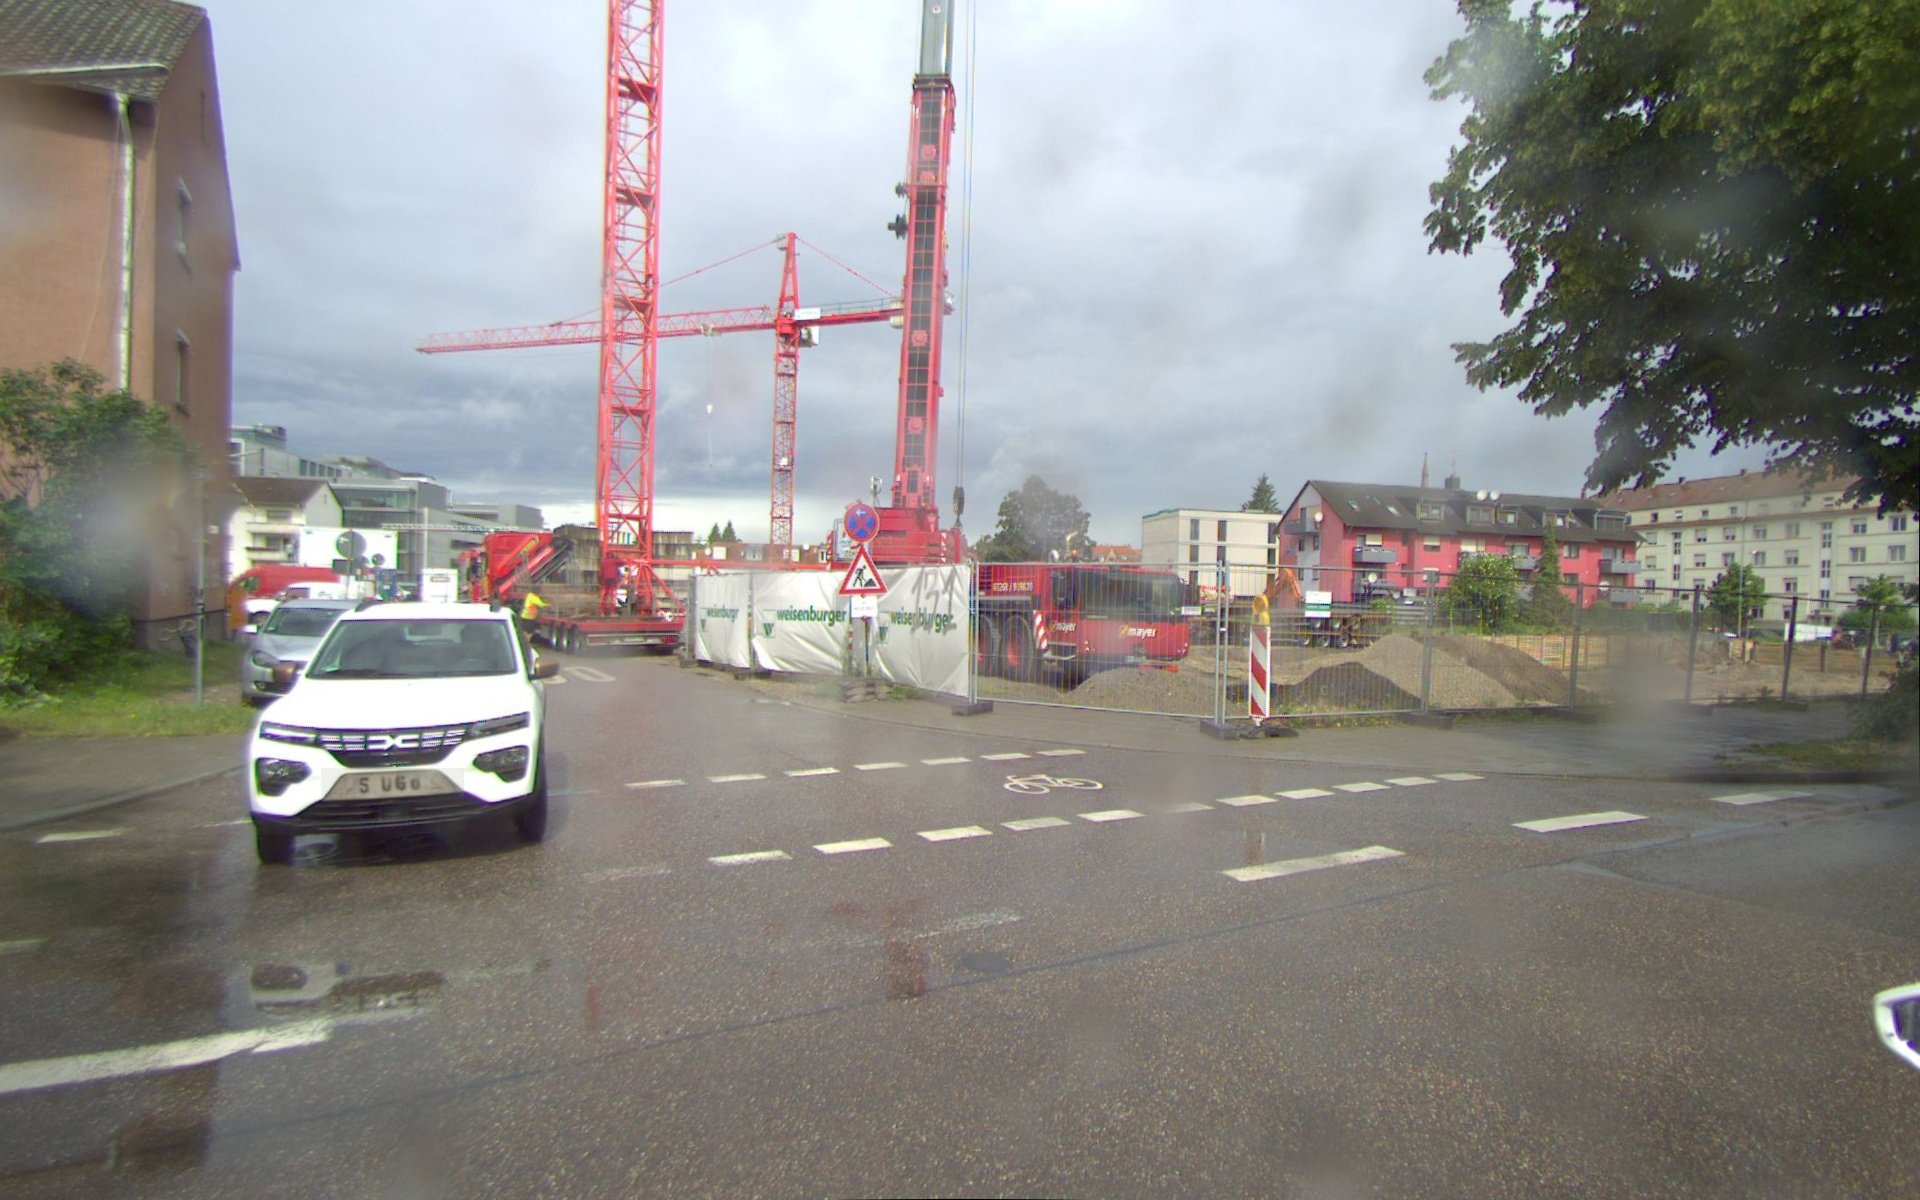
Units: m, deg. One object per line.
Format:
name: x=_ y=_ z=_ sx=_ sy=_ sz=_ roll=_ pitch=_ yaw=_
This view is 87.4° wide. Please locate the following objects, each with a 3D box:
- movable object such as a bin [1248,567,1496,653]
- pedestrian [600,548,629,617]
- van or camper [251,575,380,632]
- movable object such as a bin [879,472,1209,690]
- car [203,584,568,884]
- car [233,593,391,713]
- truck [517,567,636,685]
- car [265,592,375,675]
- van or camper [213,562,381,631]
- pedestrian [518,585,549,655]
movable object such as a bin: x=31.771 y=0.713 z=78.225 sx=16.428 sy=6.125 sz=6.885 roll=1 pitch=1 yaw=-5
pedestrian: x=-10.381 y=-0.513 z=30.144 sx=0.681 sy=2.040 sz=0.487 roll=2 pitch=-3 yaw=-37
van or camper: x=-24.835 y=0.189 z=38.753 sx=3.967 sy=2.040 sz=1.928 roll=2 pitch=-3 yaw=-40
movable object such as a bin: x=1.431 y=-0.446 z=24.304 sx=3.323 sy=4.171 sz=9.775 roll=1 pitch=1 yaw=-27
car: x=-3.754 y=0.719 z=7.200 sx=1.712 sy=1.554 sz=3.599 roll=1 pitch=-1 yaw=-21
car: x=-9.456 y=0.680 z=14.876 sx=1.708 sy=1.493 sz=4.033 roll=1 pitch=0 yaw=-31
truck: x=-12.544 y=0.694 z=32.453 sx=2.323 sy=3.237 sz=6.958 roll=2 pitch=2 yaw=-31
car: x=-13.213 y=0.642 z=20.913 sx=1.708 sy=1.493 sz=4.033 roll=4 pitch=-1 yaw=-31
van or camper: x=-26.869 y=-0.058 z=40.873 sx=5.526 sy=2.544 sz=1.931 roll=2 pitch=-3 yaw=-35
pedestrian: x=-12.572 y=0.610 z=29.586 sx=0.740 sy=2.040 sz=0.428 roll=2 pitch=-3 yaw=-34
